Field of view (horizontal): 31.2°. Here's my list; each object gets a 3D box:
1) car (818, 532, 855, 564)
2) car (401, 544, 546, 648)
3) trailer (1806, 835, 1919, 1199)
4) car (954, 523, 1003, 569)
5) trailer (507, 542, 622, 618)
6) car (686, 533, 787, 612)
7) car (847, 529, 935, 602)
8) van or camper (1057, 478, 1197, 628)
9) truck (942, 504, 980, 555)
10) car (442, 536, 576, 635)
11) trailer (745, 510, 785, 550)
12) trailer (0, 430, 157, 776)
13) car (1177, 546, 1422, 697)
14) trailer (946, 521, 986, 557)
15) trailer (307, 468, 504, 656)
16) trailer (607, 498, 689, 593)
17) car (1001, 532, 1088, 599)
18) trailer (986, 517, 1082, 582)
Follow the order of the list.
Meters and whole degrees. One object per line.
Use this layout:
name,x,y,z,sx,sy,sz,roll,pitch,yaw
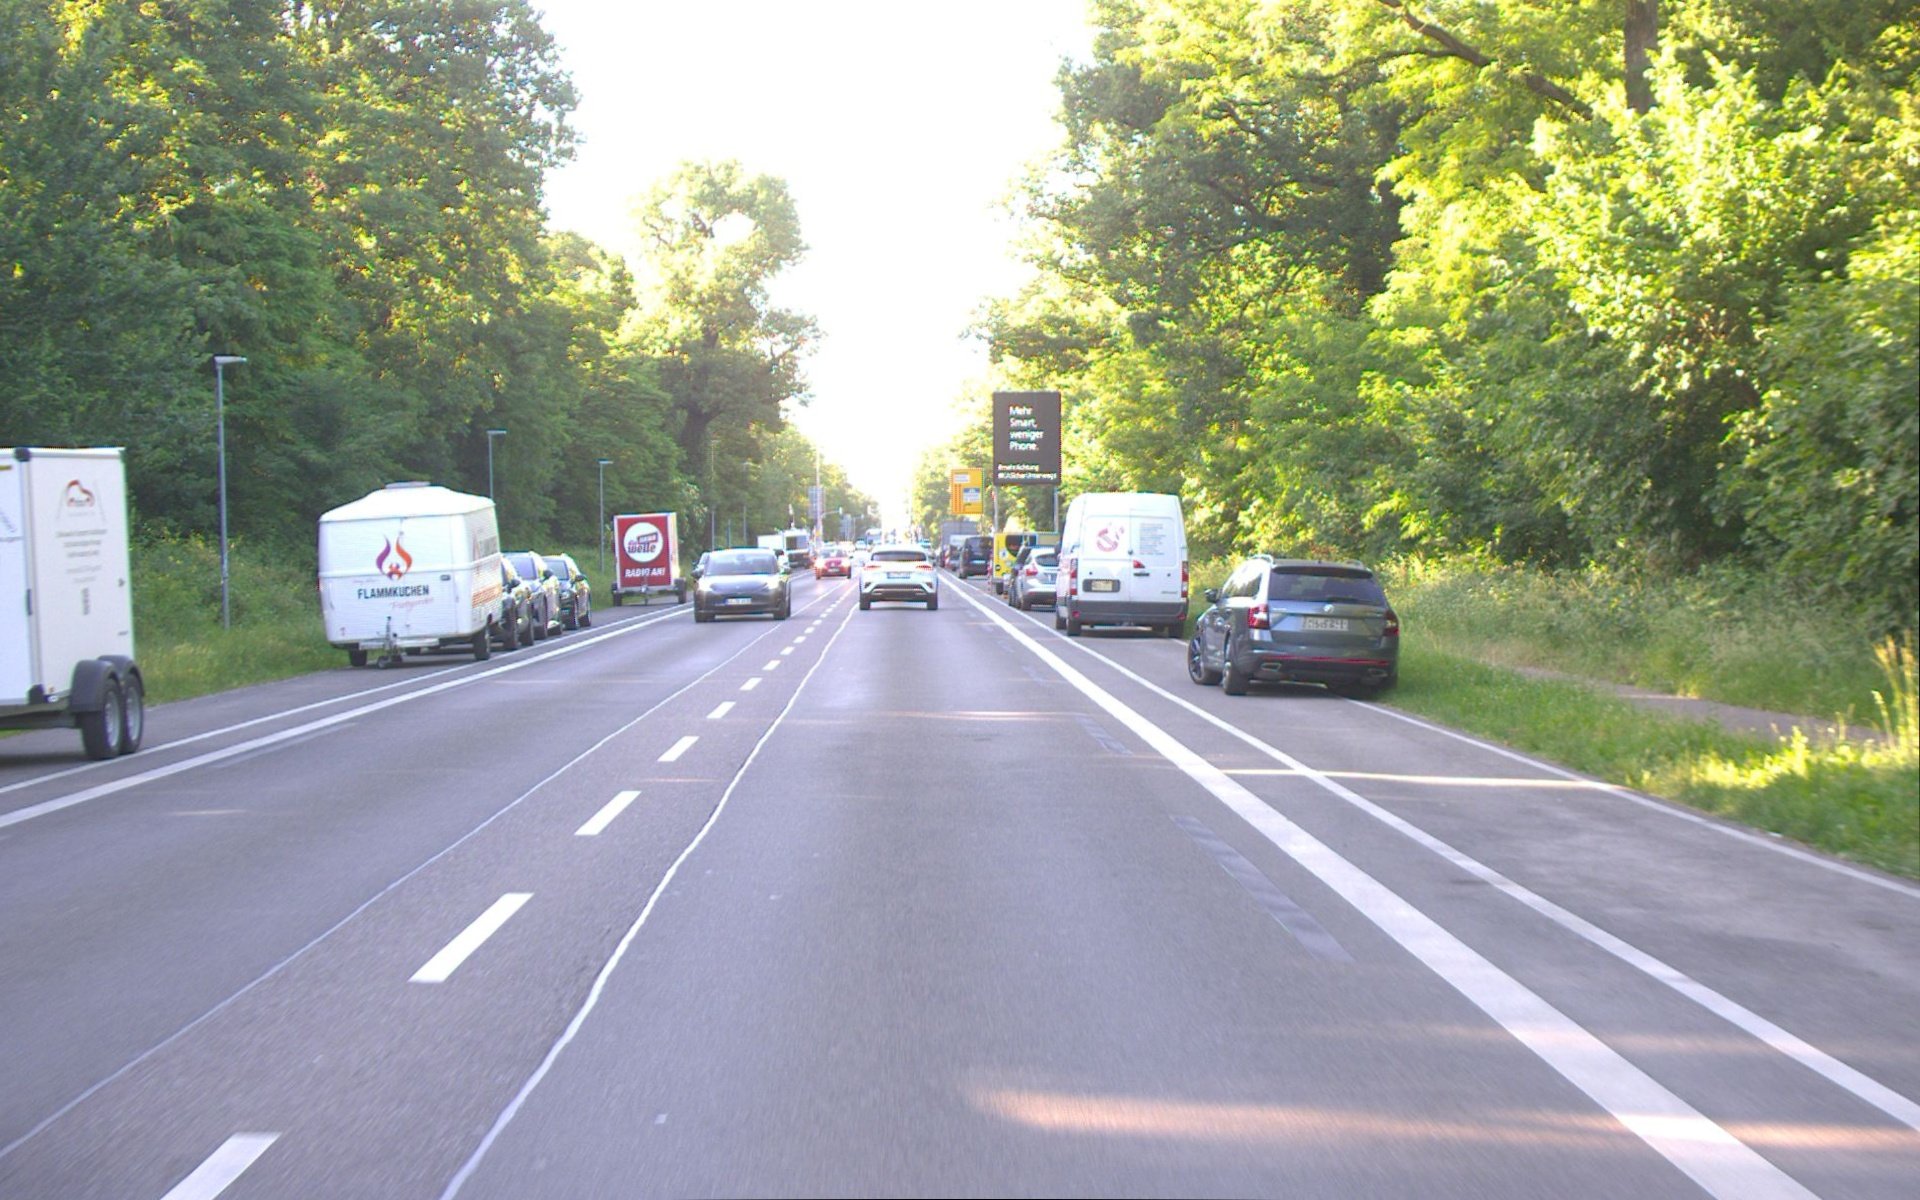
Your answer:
car,-5.639,-2.376,157.262,1.604,1.416,3.519,-2,1,-1
car,-7.736,-0.084,54.984,1.671,1.490,4.194,-4,1,-1
trailer,3.492,1.063,6.255,2.432,0.796,5.660,0,1,-1
car,0.825,-2.501,158.321,2.113,2.007,5.040,1,1,-1
trailer,-7.842,-0.421,68.485,1.841,1.461,4.467,0,1,-1
car,-4.542,-0.583,70.527,1.819,1.527,4.531,-1,1,-1
car,-1.608,-0.827,80.531,1.993,1.634,4.000,-1,1,-1
van or camper,2.865,-0.840,60.172,2.125,2.474,6.305,0,1,0
truck,0.026,-4.757,232.776,2.505,3.355,7.108,0,1,0
car,-7.984,-0.280,61.229,1.671,1.568,5.127,-4,1,-1
trailer,-11.510,-4.105,203.142,2.075,2.285,3.486,-1,1,1
trailer,-7.531,0.004,26.405,2.066,2.472,3.561,-1,1,-4
car,3.563,0.183,36.874,1.834,1.416,4.598,2,1,-4
trailer,0.340,-3.570,202.379,1.616,2.105,2.394,1,1,20
trailer,-7.844,-0.564,49.048,2.345,2.520,4.345,-1,1,-4
trailer,-8.828,-1.558,97.566,1.993,2.612,4.086,-1,1,-1
car,1.963,-0.826,80.900,1.734,1.482,4.402,1,1,-2
trailer,2.367,-1.628,108.995,1.964,2.016,3.840,0,1,19
